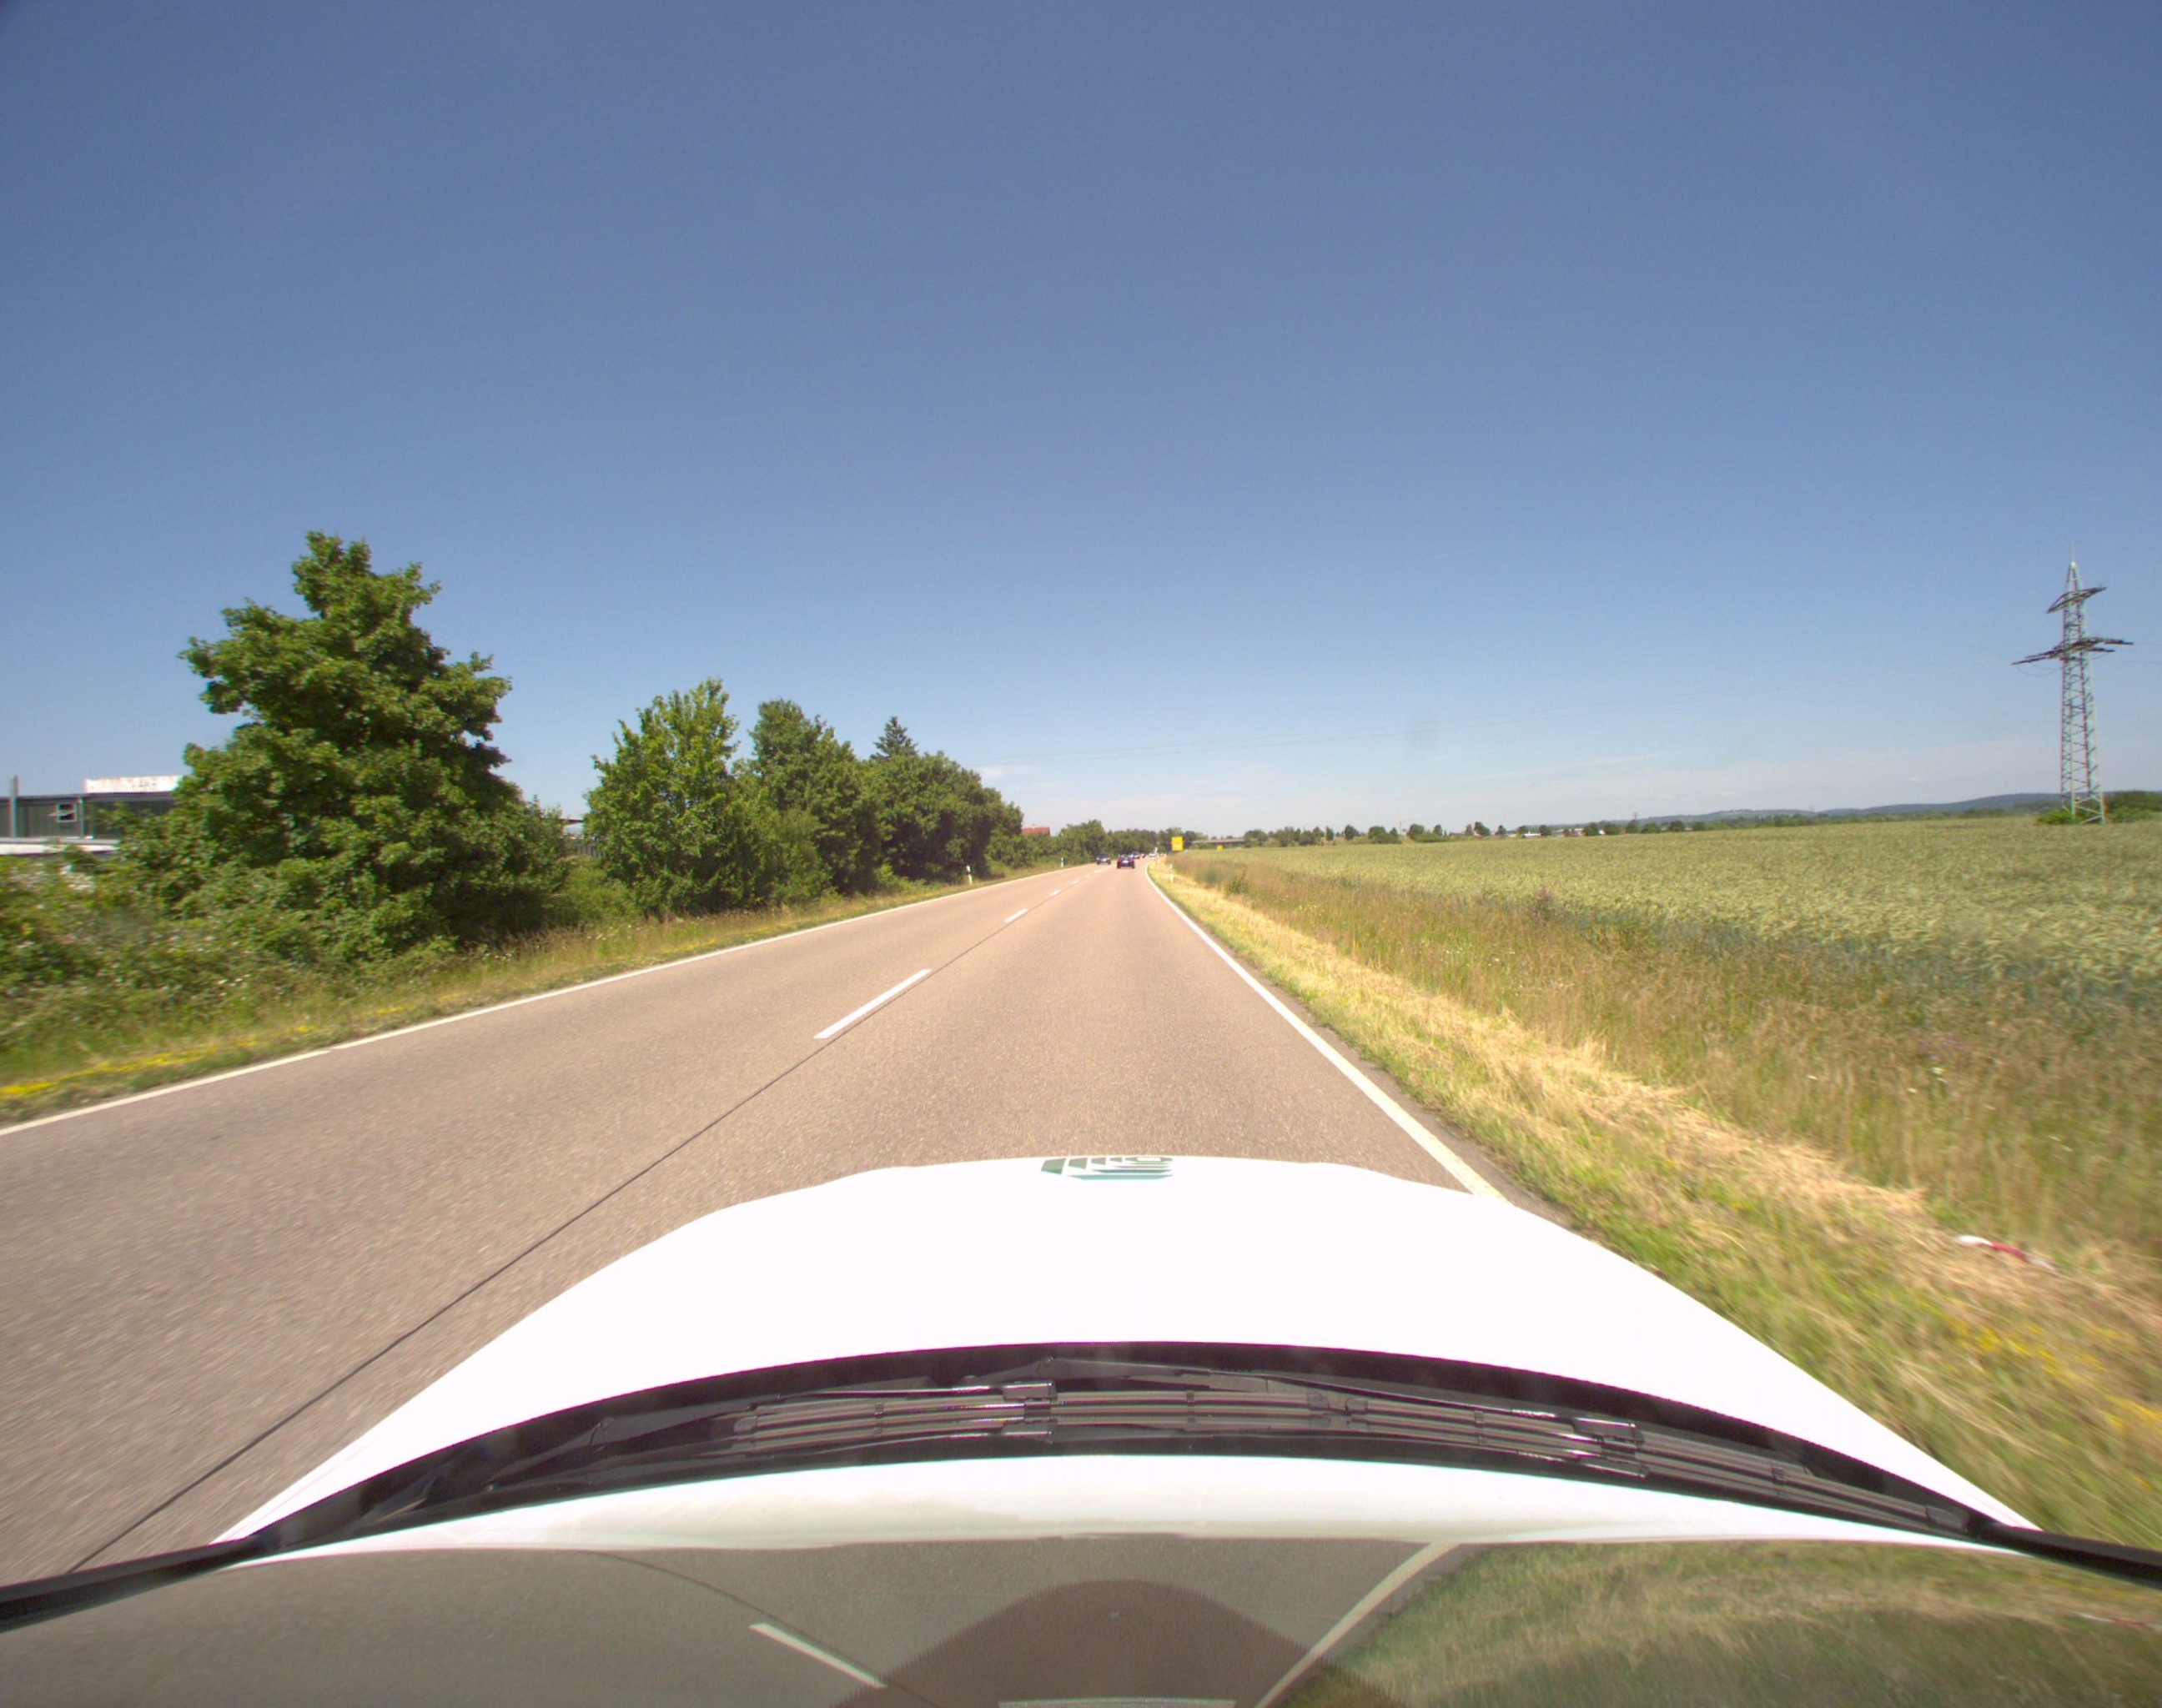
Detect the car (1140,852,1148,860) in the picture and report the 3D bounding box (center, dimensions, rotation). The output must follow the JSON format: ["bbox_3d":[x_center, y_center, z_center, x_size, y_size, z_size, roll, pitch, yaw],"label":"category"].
[{"bbox_3d":[15.823,0.593,204.375,1.856,2.013,4.009,0,0,8],"label":"car"}]

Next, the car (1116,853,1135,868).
[{"bbox_3d":[4.509,0.675,82.068,1.805,1.441,4.006,0,0,5],"label":"car"}]

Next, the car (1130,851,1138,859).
[{"bbox_3d":[12.096,0.173,185.864,1.810,1.701,5.009,-1,0,5],"label":"car"}]

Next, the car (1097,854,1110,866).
[{"bbox_3d":[3.106,0.790,111.430,1.691,1.566,3.675,-1,0,4],"label":"car"}]
